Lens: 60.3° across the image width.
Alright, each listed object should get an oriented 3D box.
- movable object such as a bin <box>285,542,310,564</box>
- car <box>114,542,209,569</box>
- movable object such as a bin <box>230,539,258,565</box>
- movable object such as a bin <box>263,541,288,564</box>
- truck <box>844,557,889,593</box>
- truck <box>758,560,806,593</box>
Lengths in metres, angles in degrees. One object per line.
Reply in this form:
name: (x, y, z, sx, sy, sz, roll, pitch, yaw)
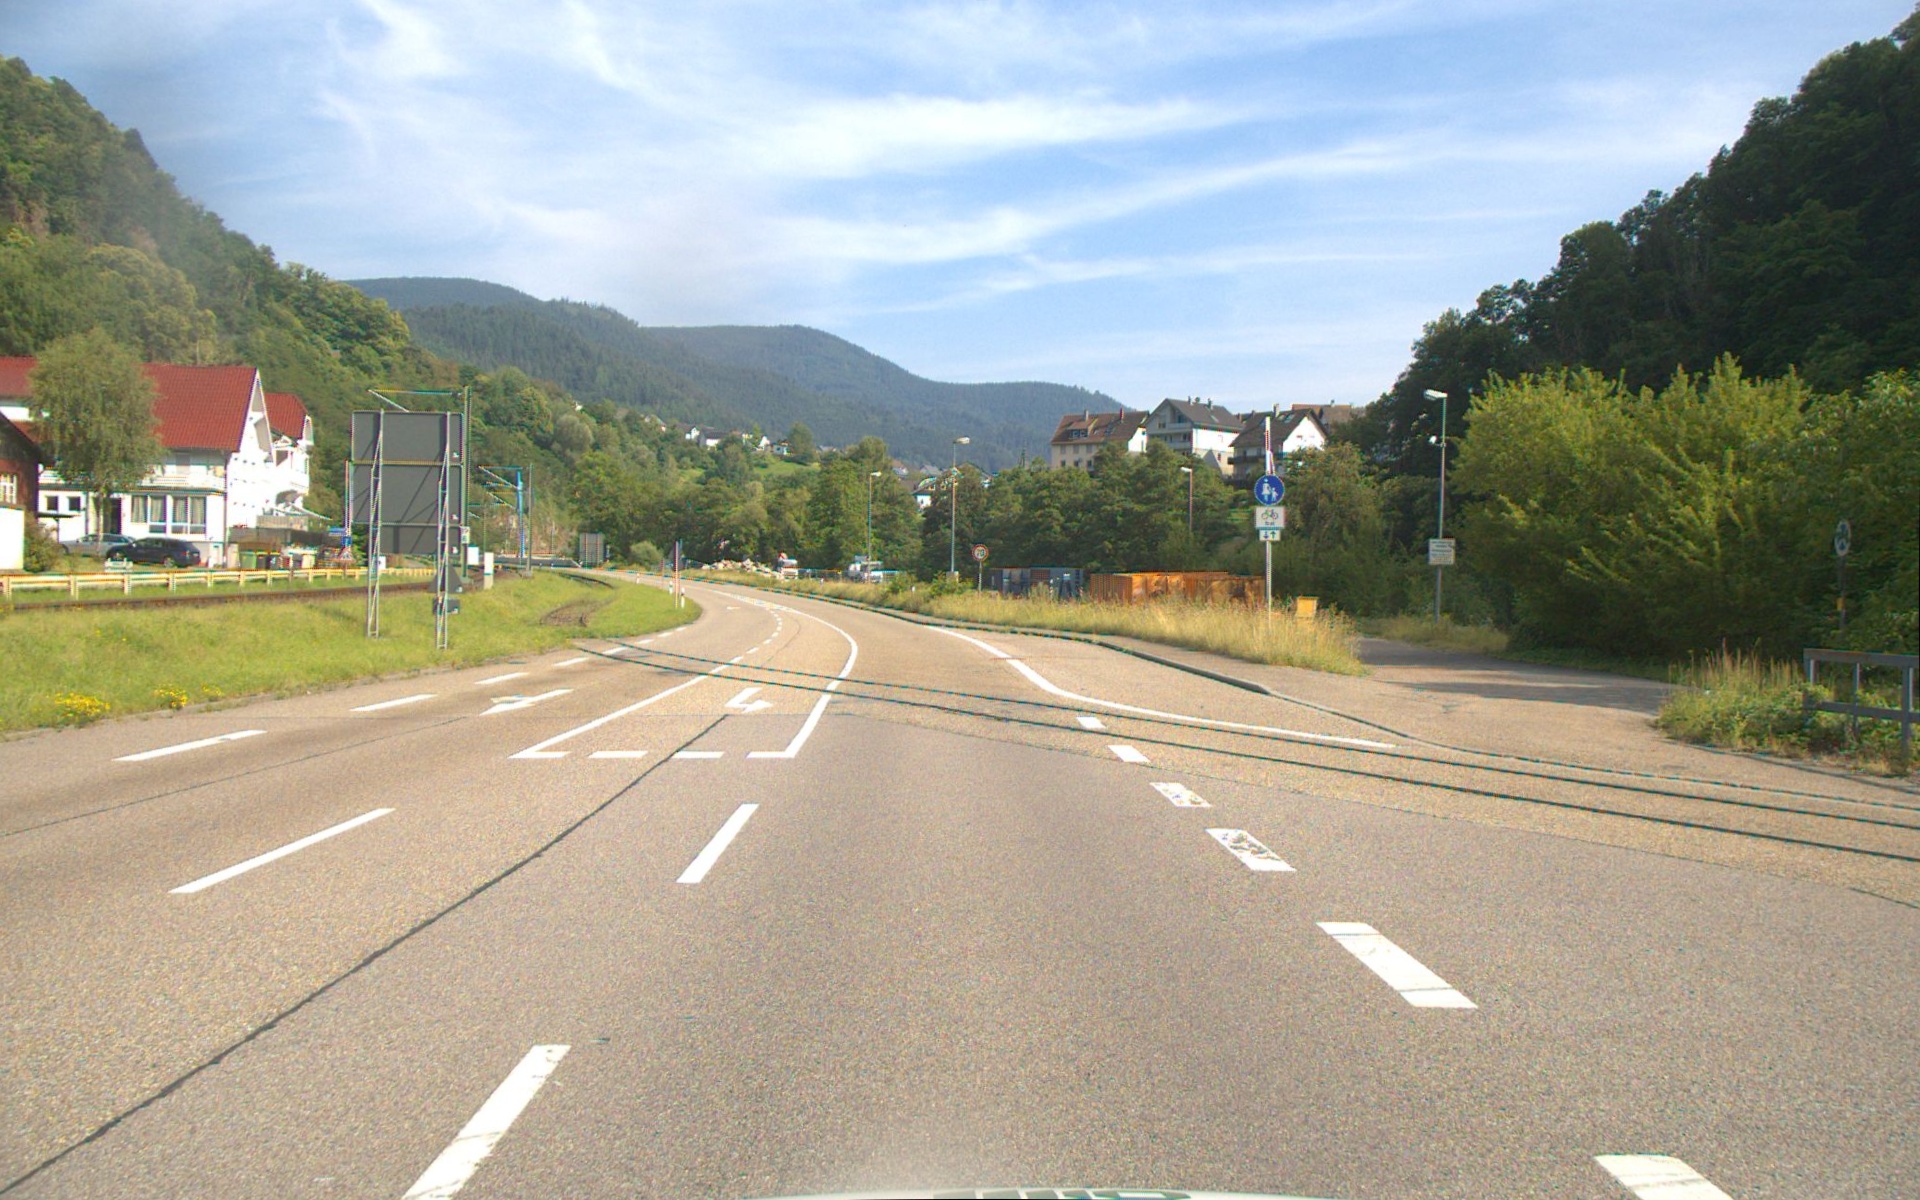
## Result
movable object such as a bin: (-37.605, -2.663, 93.911, 1.070, 1.212, 1.140, 2, 0, -12)
car: (-41.051, -2.285, 85.106, 4.021, 1.292, 1.732, 1, 1, -11)
movable object such as a bin: (-35.262, -2.352, 81.425, 1.122, 1.212, 1.088, 1, 0, -18)
movable object such as a bin: (-38.703, -2.676, 93.563, 1.070, 1.212, 1.140, 2, 0, -12)
truck: (-10.695, -2.896, 187.817, 3.054, 3.848, 8.604, 2, 1, -17)
truck: (-22.004, -2.915, 203.767, 3.065, 3.848, 8.574, 2, 1, -26)
